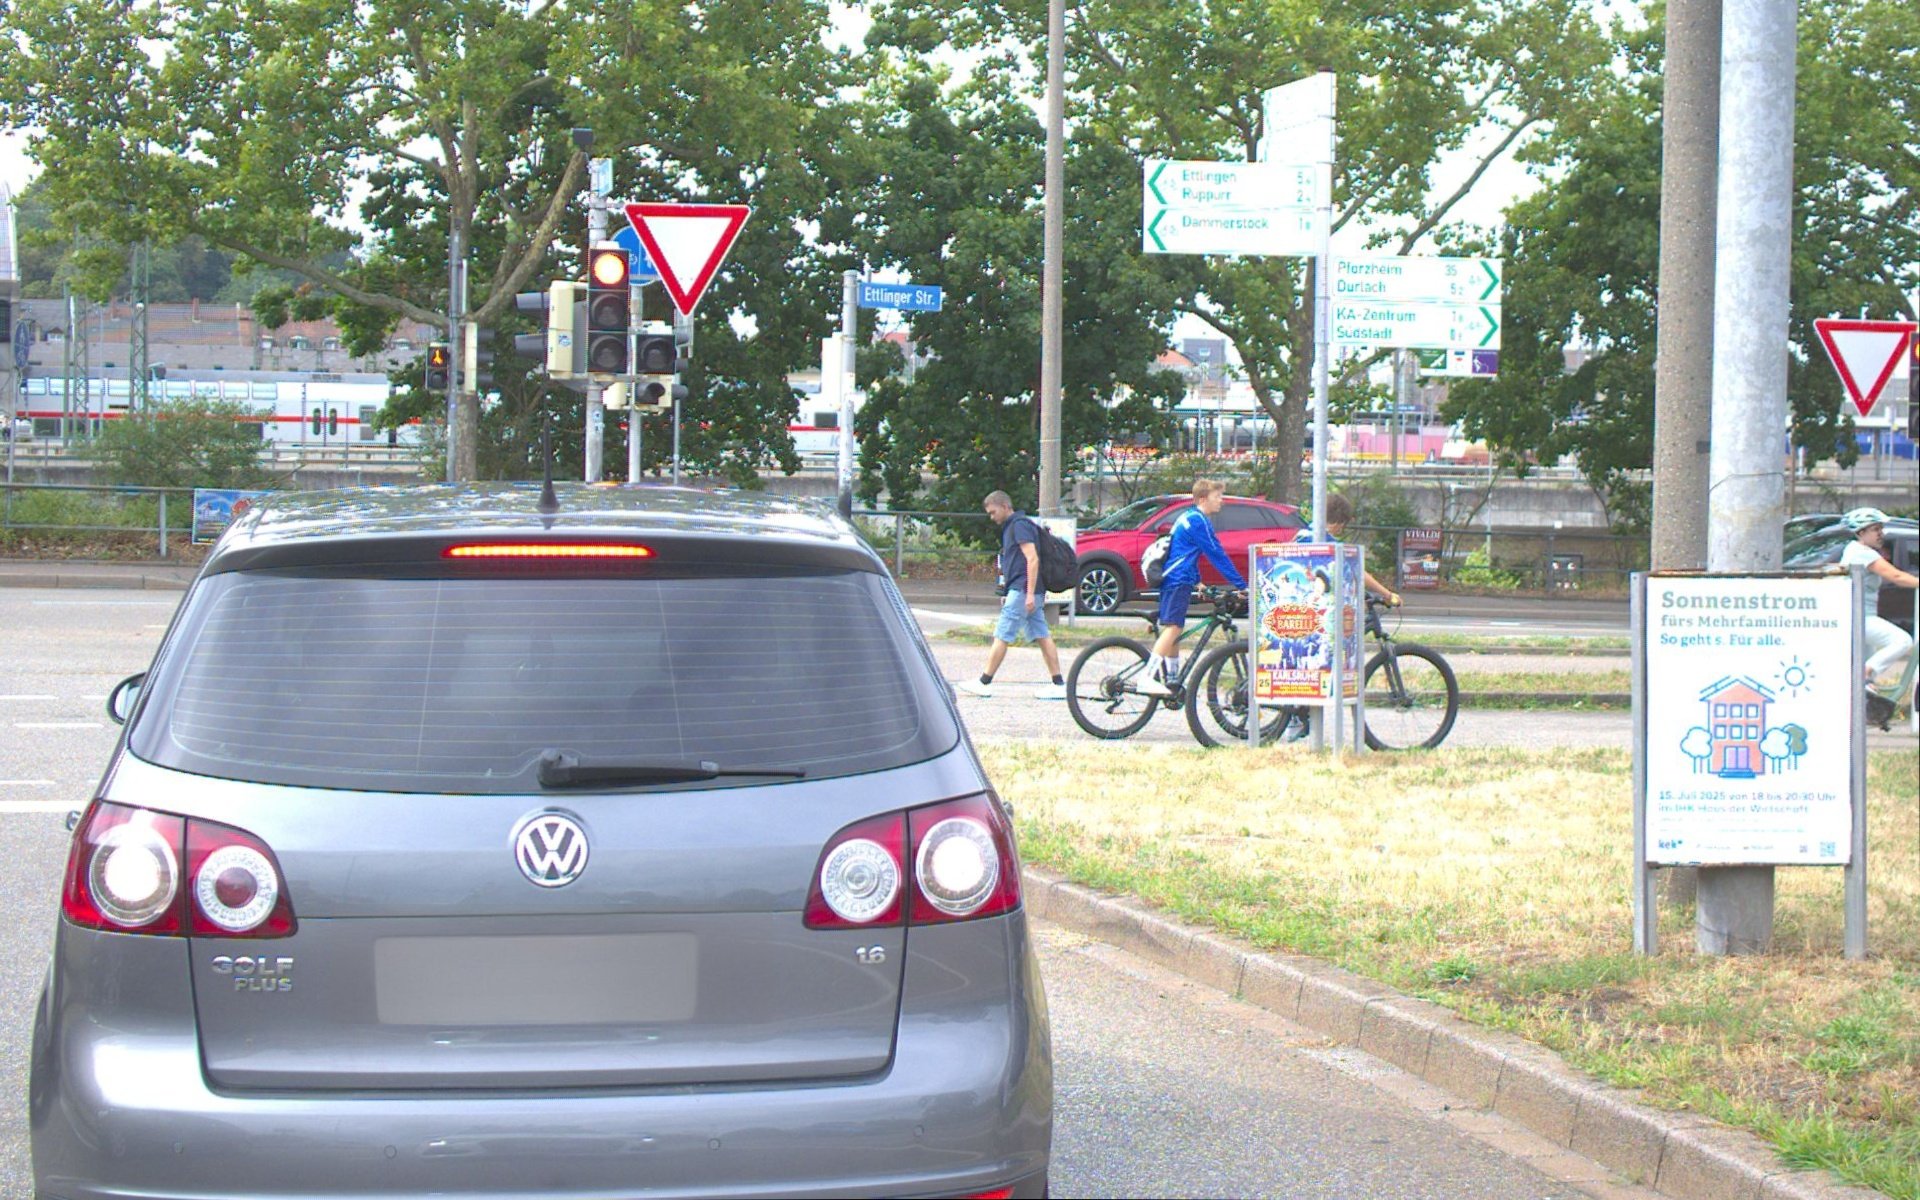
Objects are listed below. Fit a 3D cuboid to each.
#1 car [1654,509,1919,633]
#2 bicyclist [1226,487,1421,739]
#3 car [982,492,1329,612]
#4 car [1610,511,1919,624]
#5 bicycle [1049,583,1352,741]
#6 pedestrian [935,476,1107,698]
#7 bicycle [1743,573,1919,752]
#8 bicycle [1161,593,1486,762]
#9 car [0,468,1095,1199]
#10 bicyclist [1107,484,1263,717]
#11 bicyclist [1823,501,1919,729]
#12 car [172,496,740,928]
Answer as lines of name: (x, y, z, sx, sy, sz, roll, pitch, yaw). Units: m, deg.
car: (10.801, -0.350, 41.721, 4.327, 1.443, 1.762, 0, 2, -17)
bicyclist: (2.262, 0.073, 21.461, 1.016, 1.534, 0.629, 0, 2, -17)
car: (2.434, -0.598, 42.920, 3.950, 1.443, 1.703, 0, 2, -20)
car: (11.065, -0.437, 45.963, 4.327, 1.443, 1.762, 0, 2, -17)
bicycle: (1.604, 0.408, 22.974, 1.900, 1.010, 0.629, 0, 2, -18)
pedestrian: (0.476, -0.108, 27.171, 1.047, 1.704, 0.854, 1, 2, -23)
bicycle: (6.550, 0.442, 24.280, 1.901, 1.206, 0.643, 1, 2, 7)
bicycle: (2.271, 0.477, 21.494, 1.900, 1.010, 0.629, 0, 2, -17)
car: (-0.957, 0.531, 7.238, 1.740, 1.541, 4.083, 1, 1, -8)
bicyclist: (1.496, -0.004, 22.928, 0.838, 1.524, 0.629, 0, 2, -18)
bicyclist: (6.553, 0.097, 24.268, 0.779, 1.575, 0.655, 1, 2, 7)
car: (-2.188, 0.336, 13.954, 1.740, 1.477, 4.083, 0, 1, -16)
